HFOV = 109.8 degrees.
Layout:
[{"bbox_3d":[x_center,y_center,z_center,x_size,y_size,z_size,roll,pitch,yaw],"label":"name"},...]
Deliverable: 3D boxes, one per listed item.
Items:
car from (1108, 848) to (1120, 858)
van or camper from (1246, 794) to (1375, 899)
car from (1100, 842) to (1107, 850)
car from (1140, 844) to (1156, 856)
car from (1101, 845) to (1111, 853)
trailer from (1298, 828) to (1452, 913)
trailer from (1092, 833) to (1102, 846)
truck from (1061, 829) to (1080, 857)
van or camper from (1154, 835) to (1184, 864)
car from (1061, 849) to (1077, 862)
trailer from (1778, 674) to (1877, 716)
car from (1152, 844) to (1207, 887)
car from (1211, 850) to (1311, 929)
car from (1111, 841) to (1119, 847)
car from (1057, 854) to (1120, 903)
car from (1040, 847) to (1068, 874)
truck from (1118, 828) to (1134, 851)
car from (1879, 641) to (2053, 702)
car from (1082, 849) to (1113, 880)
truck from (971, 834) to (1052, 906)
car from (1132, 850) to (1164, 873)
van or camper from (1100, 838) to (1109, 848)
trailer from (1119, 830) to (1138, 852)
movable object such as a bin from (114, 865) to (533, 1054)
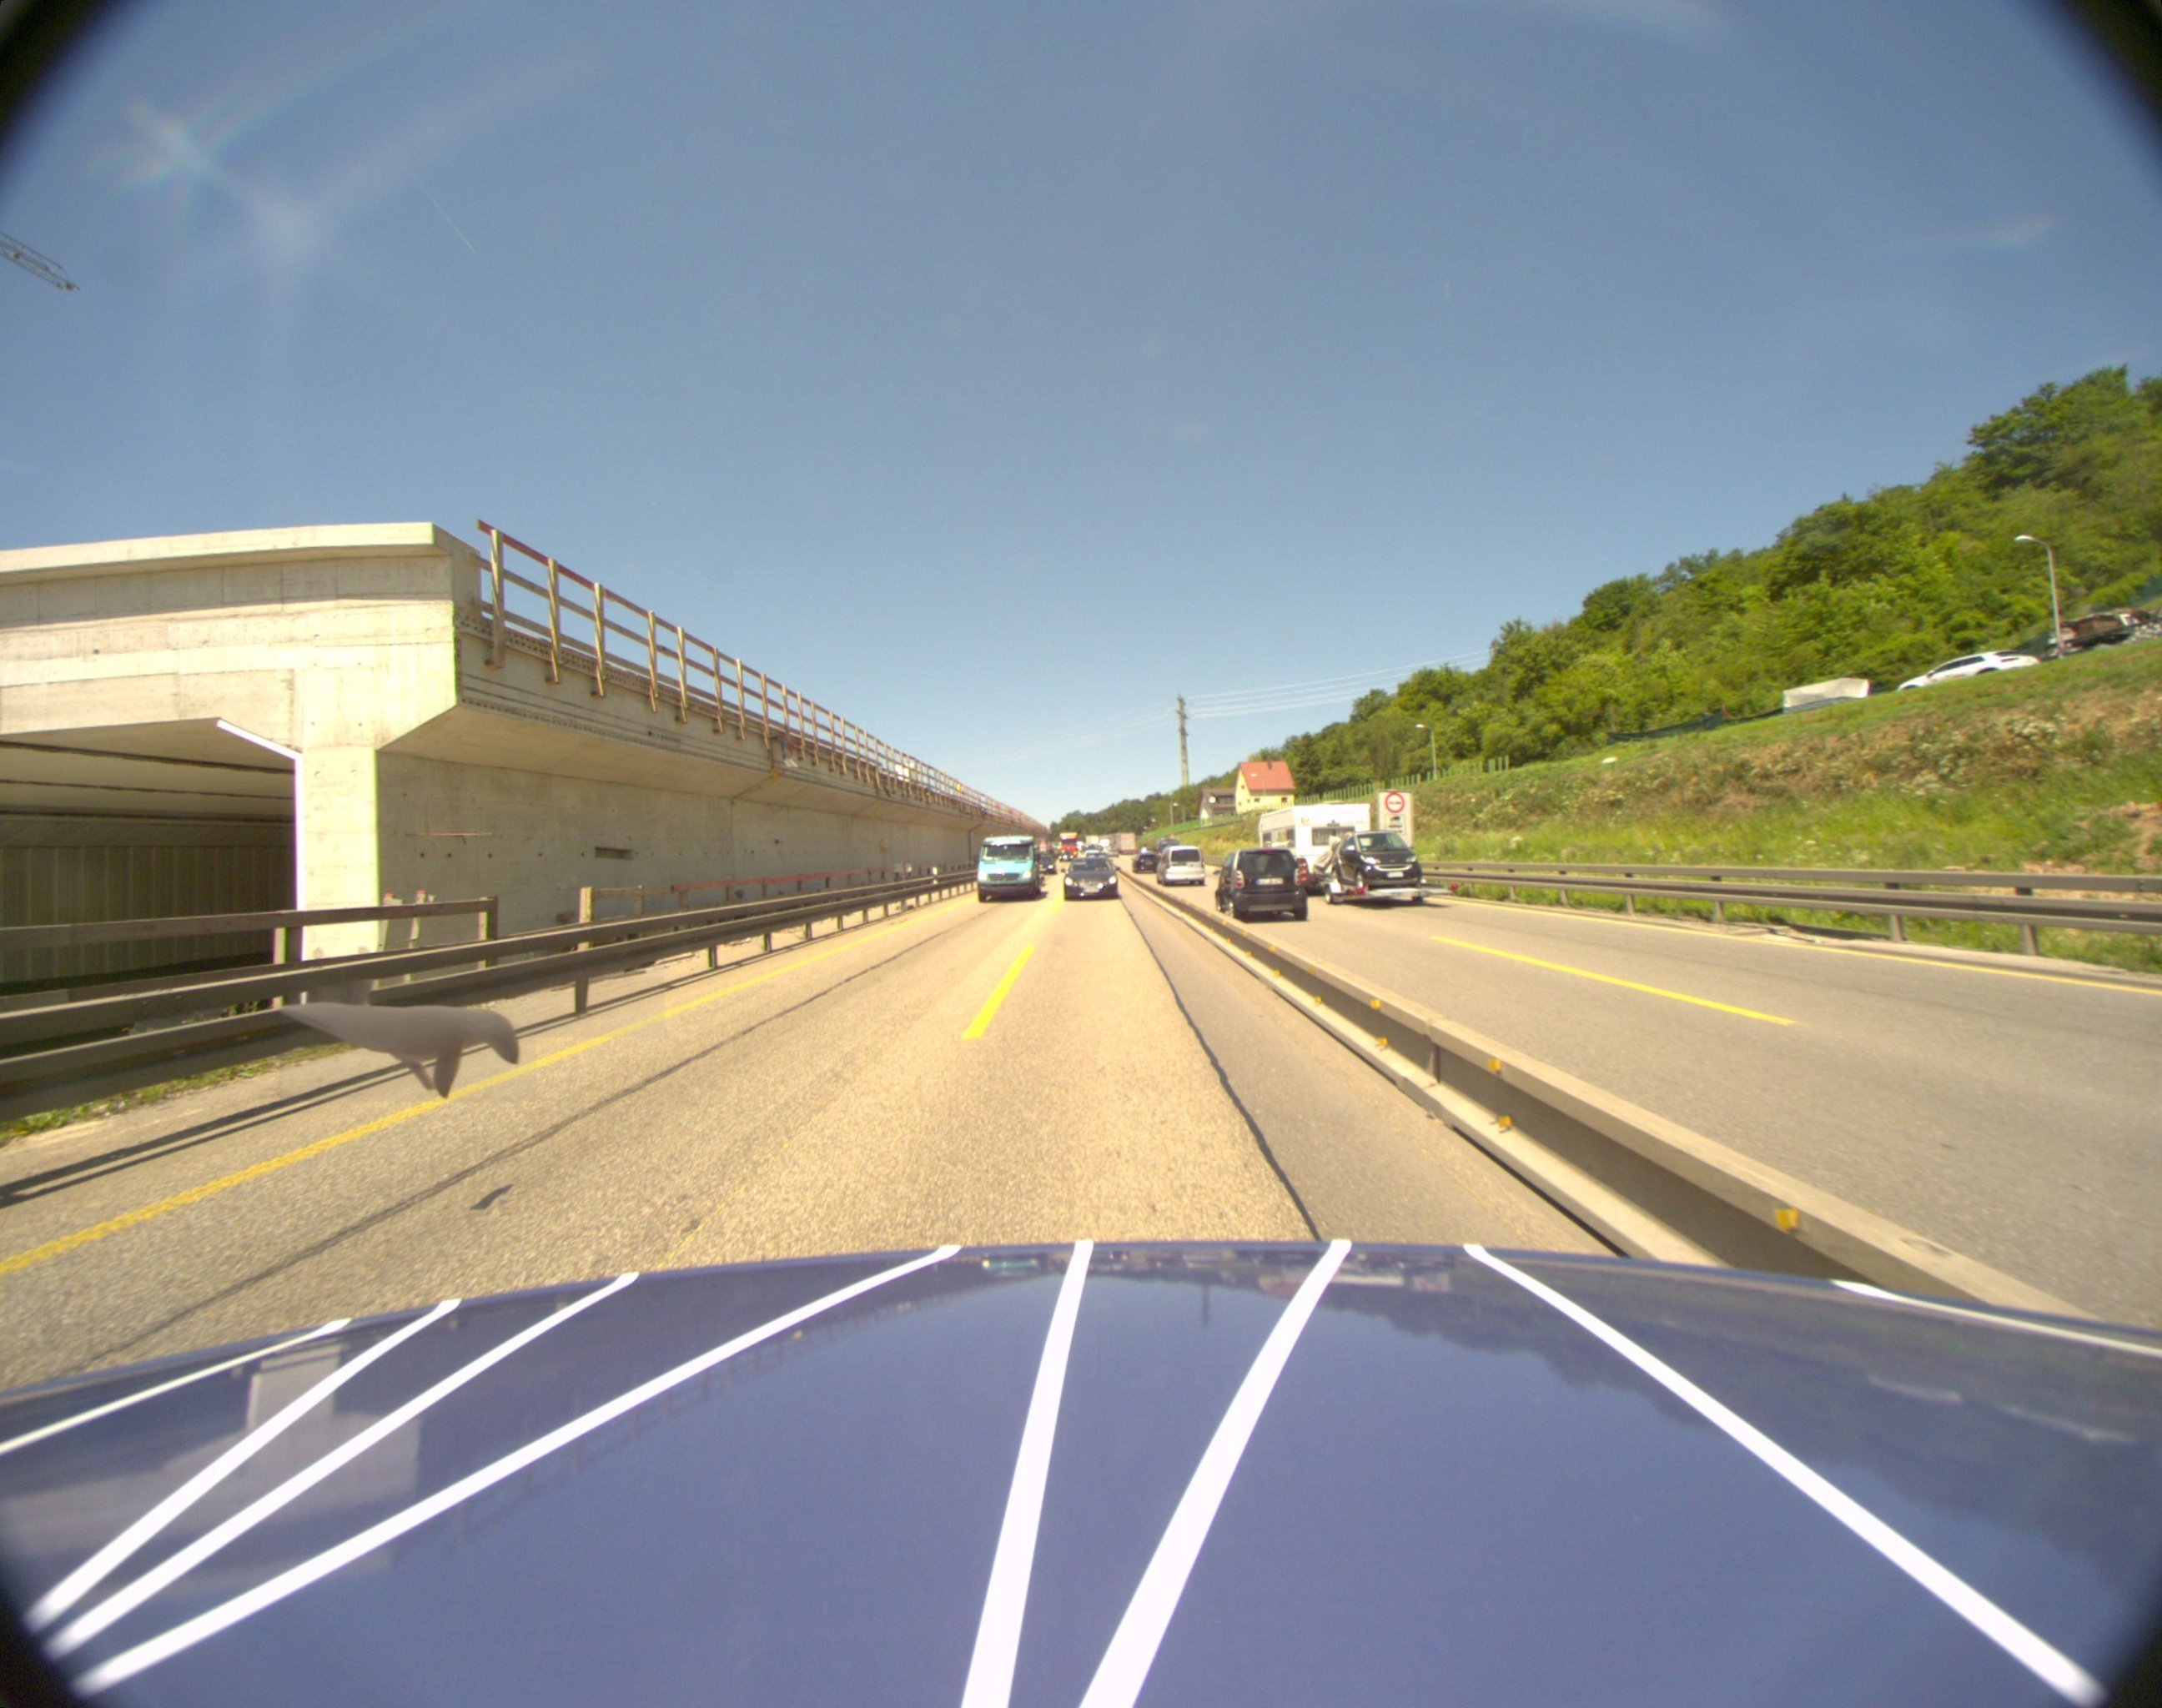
[{"bbox_3d":[5.391,-0.185,123.977,1.834,1.425,4.629,-1,1,1],"label":"car"},{"bbox_3d":[7.571,-0.249,26.025,2.297,3.048,6.923,-2,0,1],"label":"van or camper"},{"bbox_3d":[5.831,-1.997,196.059,1.854,1.879,4.501,-2,1,1],"label":"car"},{"bbox_3d":[9.155,-0.557,104.444,1.777,1.573,4.285,-3,1,1],"label":"car"},{"bbox_3d":[4.845,-1.040,146.824,1.806,1.455,4.000,-2,1,2],"label":"car"},{"bbox_3d":[7.510,0.361,20.084,2.106,1.883,5.141,-2,0,1],"label":"trailer"},{"bbox_3d":[5.431,-5.222,265.708,3.111,4.417,14.625,-2,1,0],"label":"trailer"},{"bbox_3d":[-1.631,-1.806,121.337,2.750,4.222,9.093,-2,2,1],"label":"truck"},{"bbox_3d":[8.433,-0.454,73.464,2.145,2.558,6.564,-2,0,1],"label":"van or camper"},{"bbox_3d":[-1.575,0.202,101.123,1.883,1.532,4.280,-2,2,0],"label":"car"},{"bbox_3d":[37.401,-7.938,38.162,1.908,1.507,3.034,-2,2,-10],"label":"trailer"},{"bbox_3d":[4.481,0.474,35.128,1.842,1.817,5.040,-2,0,0],"label":"car"},{"bbox_3d":[3.799,0.696,16.404,1.487,1.496,2.805,-2,0,1],"label":"car"},{"bbox_3d":[9.025,-2.805,203.420,1.998,1.499,5.299,-2,1,1],"label":"car"},{"bbox_3d":[0.309,0.802,26.859,1.998,1.441,4.601,-2,1,1],"label":"car"},{"bbox_3d":[-2.016,0.433,57.336,1.885,1.805,4.249,-2,2,0],"label":"car"},{"bbox_3d":[9.020,-2.899,154.337,2.627,4.371,10.383,-2,1,1],"label":"truck"},{"bbox_3d":[38.147,-7.836,32.972,2.000,1.646,4.548,-2,2,-9],"label":"car"},{"bbox_3d":[1.119,0.637,49.715,1.884,1.805,4.250,-2,2,3],"label":"car"},{"bbox_3d":[-2.461,0.437,29.044,2.139,2.344,7.431,-2,1,1],"label":"truck"},{"bbox_3d":[4.775,0.497,54.794,1.847,1.467,4.834,-2,0,1],"label":"car"},{"bbox_3d":[7.102,-3.356,228.675,2.356,2.619,6.901,-2,2,1],"label":"van or camper"},{"bbox_3d":[9.041,-2.521,144.789,2.937,3.966,8.704,-2,1,0],"label":"trailer"},{"bbox_3d":[-21.160,2.571,22.506,2.961,4.040,9.153,-2,2,0],"label":"movable object such as a bin"}]
